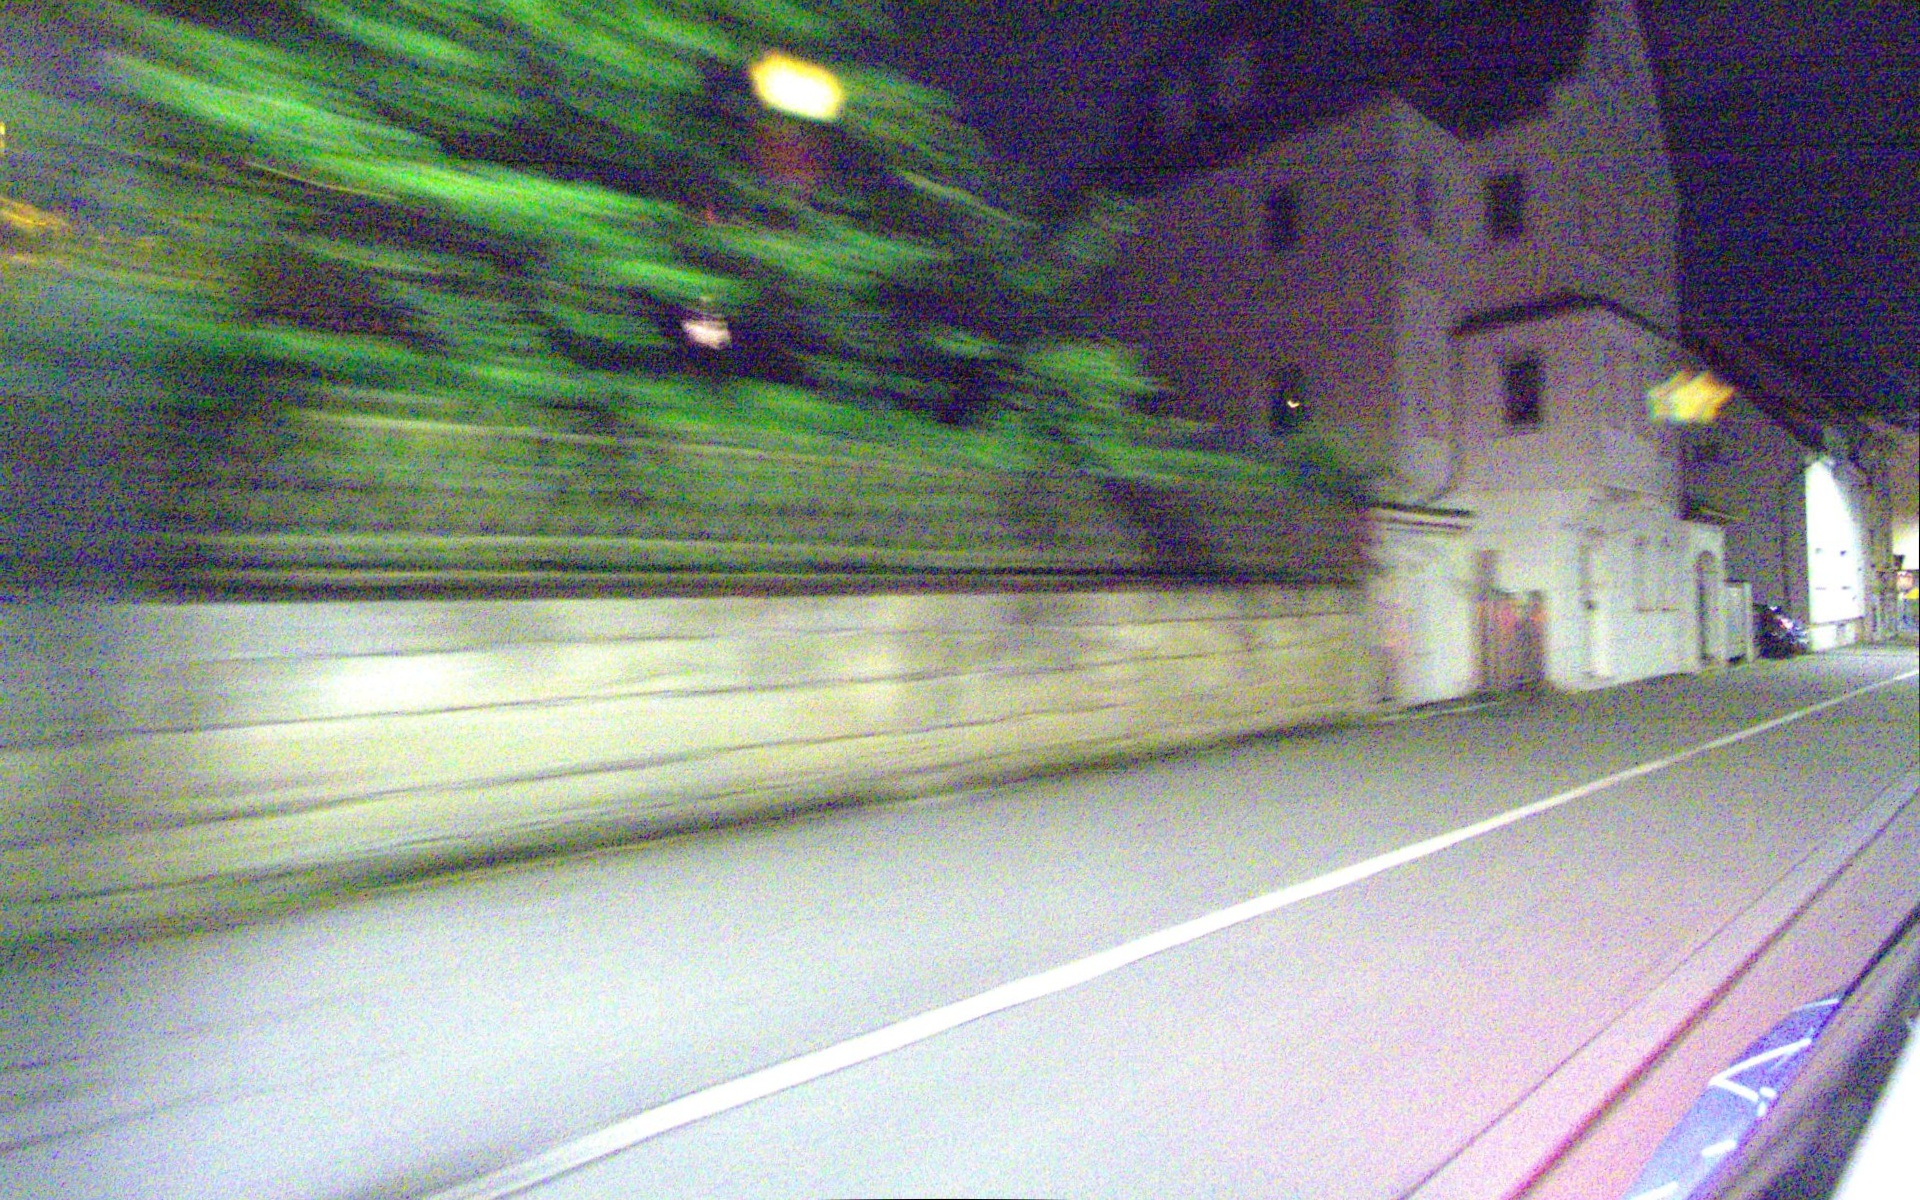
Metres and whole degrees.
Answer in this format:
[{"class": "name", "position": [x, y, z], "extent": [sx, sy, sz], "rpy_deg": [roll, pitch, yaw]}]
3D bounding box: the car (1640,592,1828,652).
[{"class": "car", "position": [20.877, 0.567, 27.414], "extent": [1.699, 1.492, 3.721], "rpy_deg": [-1, 0, -37]}]
